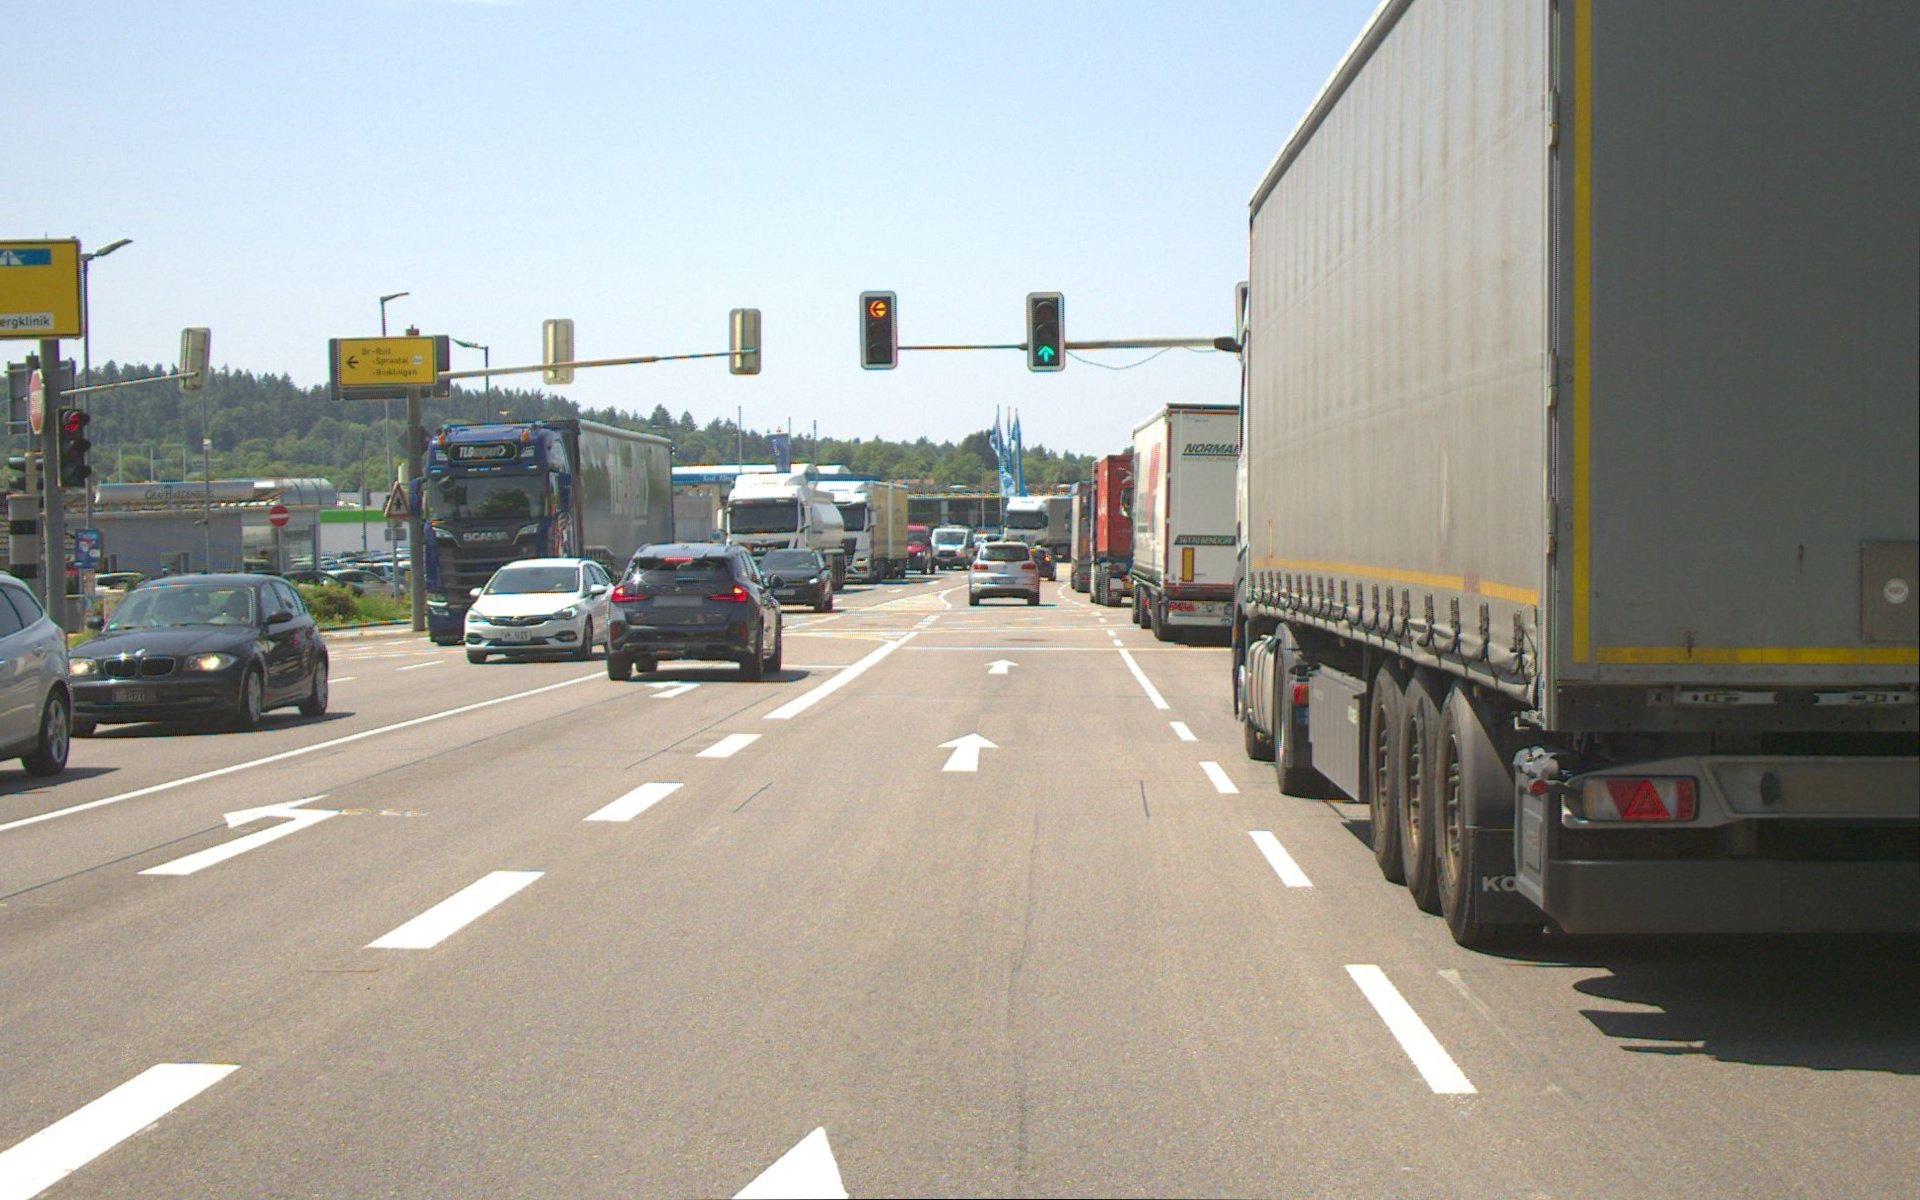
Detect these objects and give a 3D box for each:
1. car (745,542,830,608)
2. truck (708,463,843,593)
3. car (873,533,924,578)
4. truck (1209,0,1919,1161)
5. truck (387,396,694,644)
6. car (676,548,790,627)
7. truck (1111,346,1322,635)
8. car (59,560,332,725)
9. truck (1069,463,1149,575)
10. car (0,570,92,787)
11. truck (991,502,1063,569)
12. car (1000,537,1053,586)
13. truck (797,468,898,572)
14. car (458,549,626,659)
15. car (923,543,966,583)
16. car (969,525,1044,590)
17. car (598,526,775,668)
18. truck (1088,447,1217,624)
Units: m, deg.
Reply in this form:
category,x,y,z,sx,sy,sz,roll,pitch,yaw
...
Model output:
category,x,y,z,sx,sy,sz,roll,pitch,yaw
car,-4.110,-0.618,82.539,1.664,1.503,3.904,-1,1,2
truck,-6.020,-2.381,114.807,2.935,3.936,14.237,-3,1,3
car,-2.871,-2.083,162.082,1.994,2.007,3.999,0,0,5
truck,3.218,-0.596,18.644,2.756,4.623,16.654,0,0,1
truck,-8.123,-1.580,69.768,3.146,4.334,17.541,-1,1,3
car,-4.500,-0.275,68.795,1.810,1.503,4.946,-1,1,2
truck,4.497,-1.730,63.629,2.875,4.623,16.654,0,0,1
car,-6.988,0.348,31.788,1.662,1.399,4.017,-1,1,-1
truck,5.223,-2.791,121.653,2.608,3.704,9.449,0,0,1
car,-7.210,0.545,22.801,1.789,1.422,4.263,-2,1,0
truck,4.358,-4.035,219.405,3.271,3.937,13.861,0,0,7
car,2.825,-1.634,145.060,1.994,2.007,3.999,-1,1,5
truck,-4.468,-3.186,139.712,2.935,3.936,13.864,-1,1,3
car,-6.131,0.062,50.890,1.740,1.498,4.406,-2,0,2
car,-0.783,-1.933,179.101,1.905,2.007,3.999,0,0,4
car,1.251,-1.117,90.804,1.805,1.664,4.291,0,1,3
car,-3.300,-0.067,42.172,1.793,1.621,4.370,-1,1,0
truck,5.183,-1.605,95.244,2.875,4.463,16.654,0,0,1
